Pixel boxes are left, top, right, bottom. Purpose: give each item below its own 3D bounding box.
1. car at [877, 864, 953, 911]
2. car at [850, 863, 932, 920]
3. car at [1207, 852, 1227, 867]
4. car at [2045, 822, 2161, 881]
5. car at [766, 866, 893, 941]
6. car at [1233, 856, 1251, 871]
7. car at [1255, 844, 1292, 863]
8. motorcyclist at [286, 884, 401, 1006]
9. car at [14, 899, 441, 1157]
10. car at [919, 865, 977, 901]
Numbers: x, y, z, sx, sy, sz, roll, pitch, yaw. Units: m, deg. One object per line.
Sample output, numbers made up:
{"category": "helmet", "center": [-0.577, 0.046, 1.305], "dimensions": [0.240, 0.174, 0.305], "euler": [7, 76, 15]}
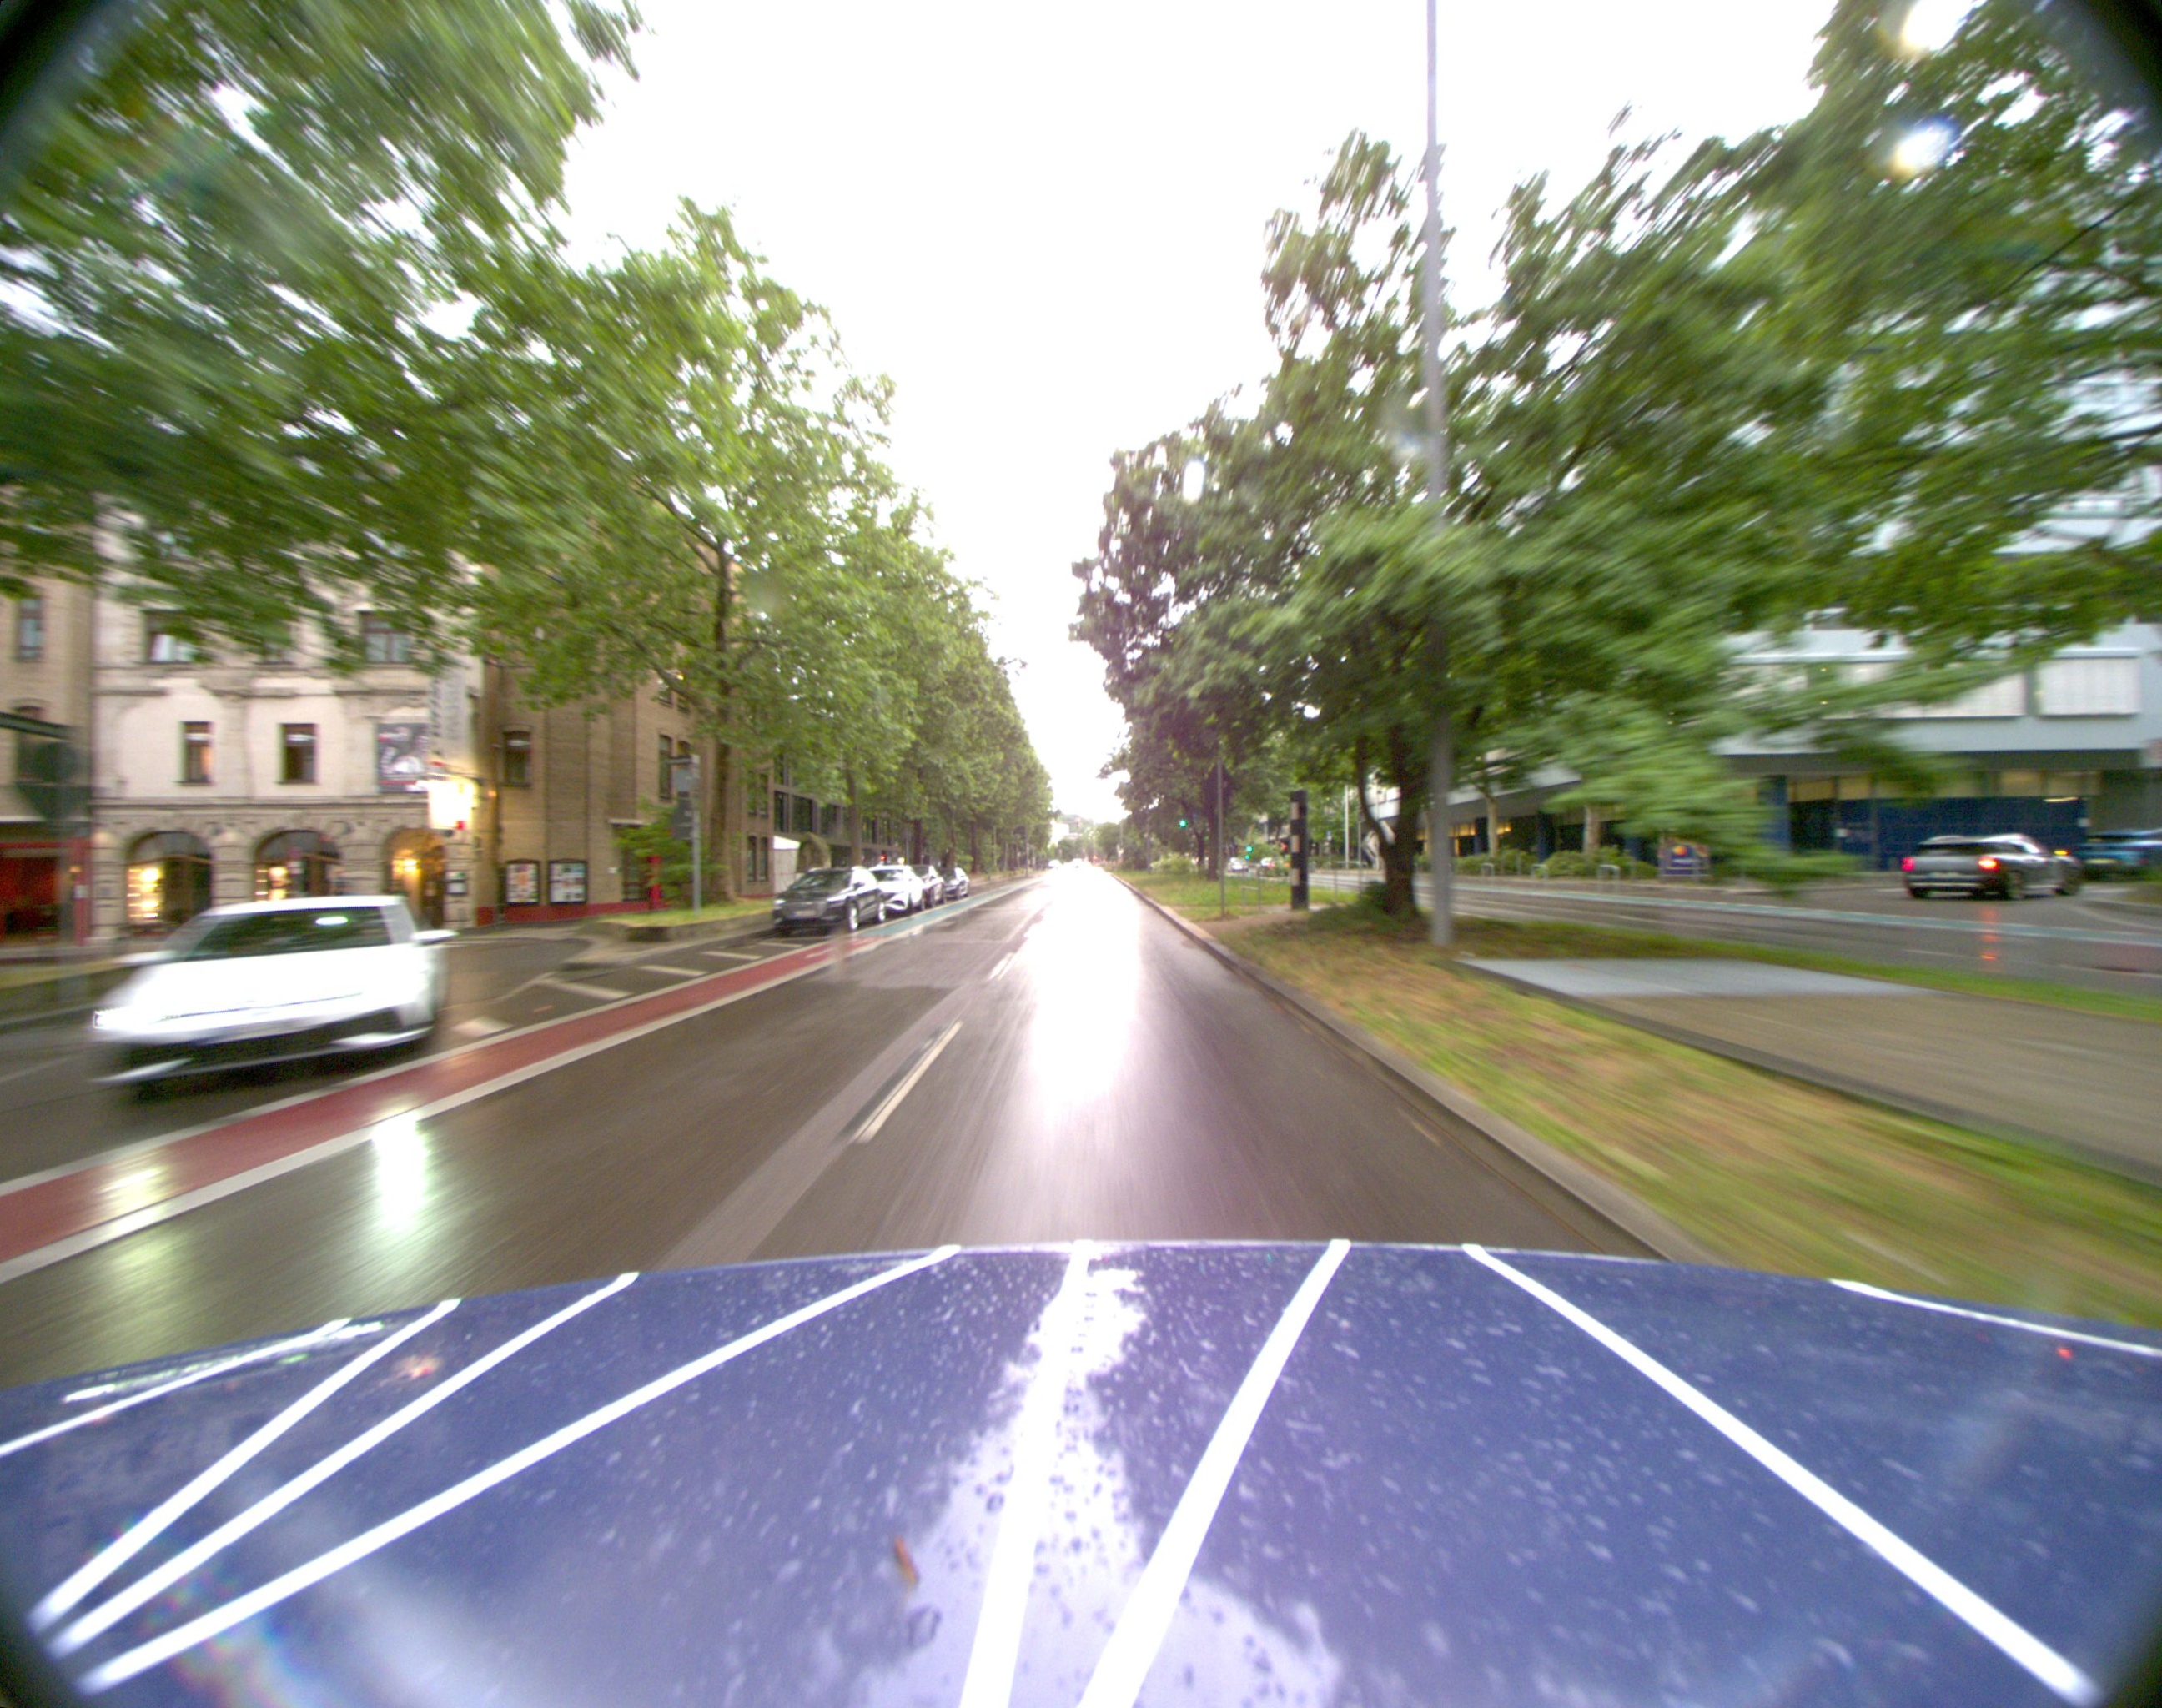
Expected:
{"category": "car", "center": [-6.380, 1.223, 29.724], "dimensions": [1.999, 1.580, 4.560], "euler": [-2, 0, -1]}
{"category": "car", "center": [-6.069, 1.136, 24.742], "dimensions": [1.756, 1.576, 4.409], "euler": [-2, 0, -3]}
{"category": "car", "center": [16.739, 0.701, 93.523], "dimensions": [1.998, 1.791, 4.283], "euler": [-1, 0, 5]}
{"category": "car", "center": [34.059, -0.145, 23.737], "dimensions": [4.999, 1.682, 2.000], "euler": [-3, 0, 4]}
{"category": "car", "center": [-6.369, 1.187, 19.832], "dimensions": [1.797, 1.593, 4.423], "euler": [-2, 0, 0]}
{"category": "car", "center": [15.891, 0.932, 75.167], "dimensions": [1.163, 1.454, 3.561], "euler": [-1, 0, 3]}
{"category": "car", "center": [15.059, -0.026, 59.755], "dimensions": [1.998, 1.483, 4.758], "euler": [0, 0, 4]}
{"category": "motorcyclist", "center": [-10.749, 1.287, 11.118], "dimensions": [0.850, 1.635, 0.870], "euler": [-2, 0, -17]}
{"category": "car", "center": [-7.483, 1.261, 7.252], "dimensions": [1.871, 1.436, 4.497], "euler": [-2, 0, -38]}
{"category": "car", "center": [-6.087, 1.282, 35.231], "dimensions": [1.747, 1.424, 4.586], "euler": [-2, 0, 1]}
